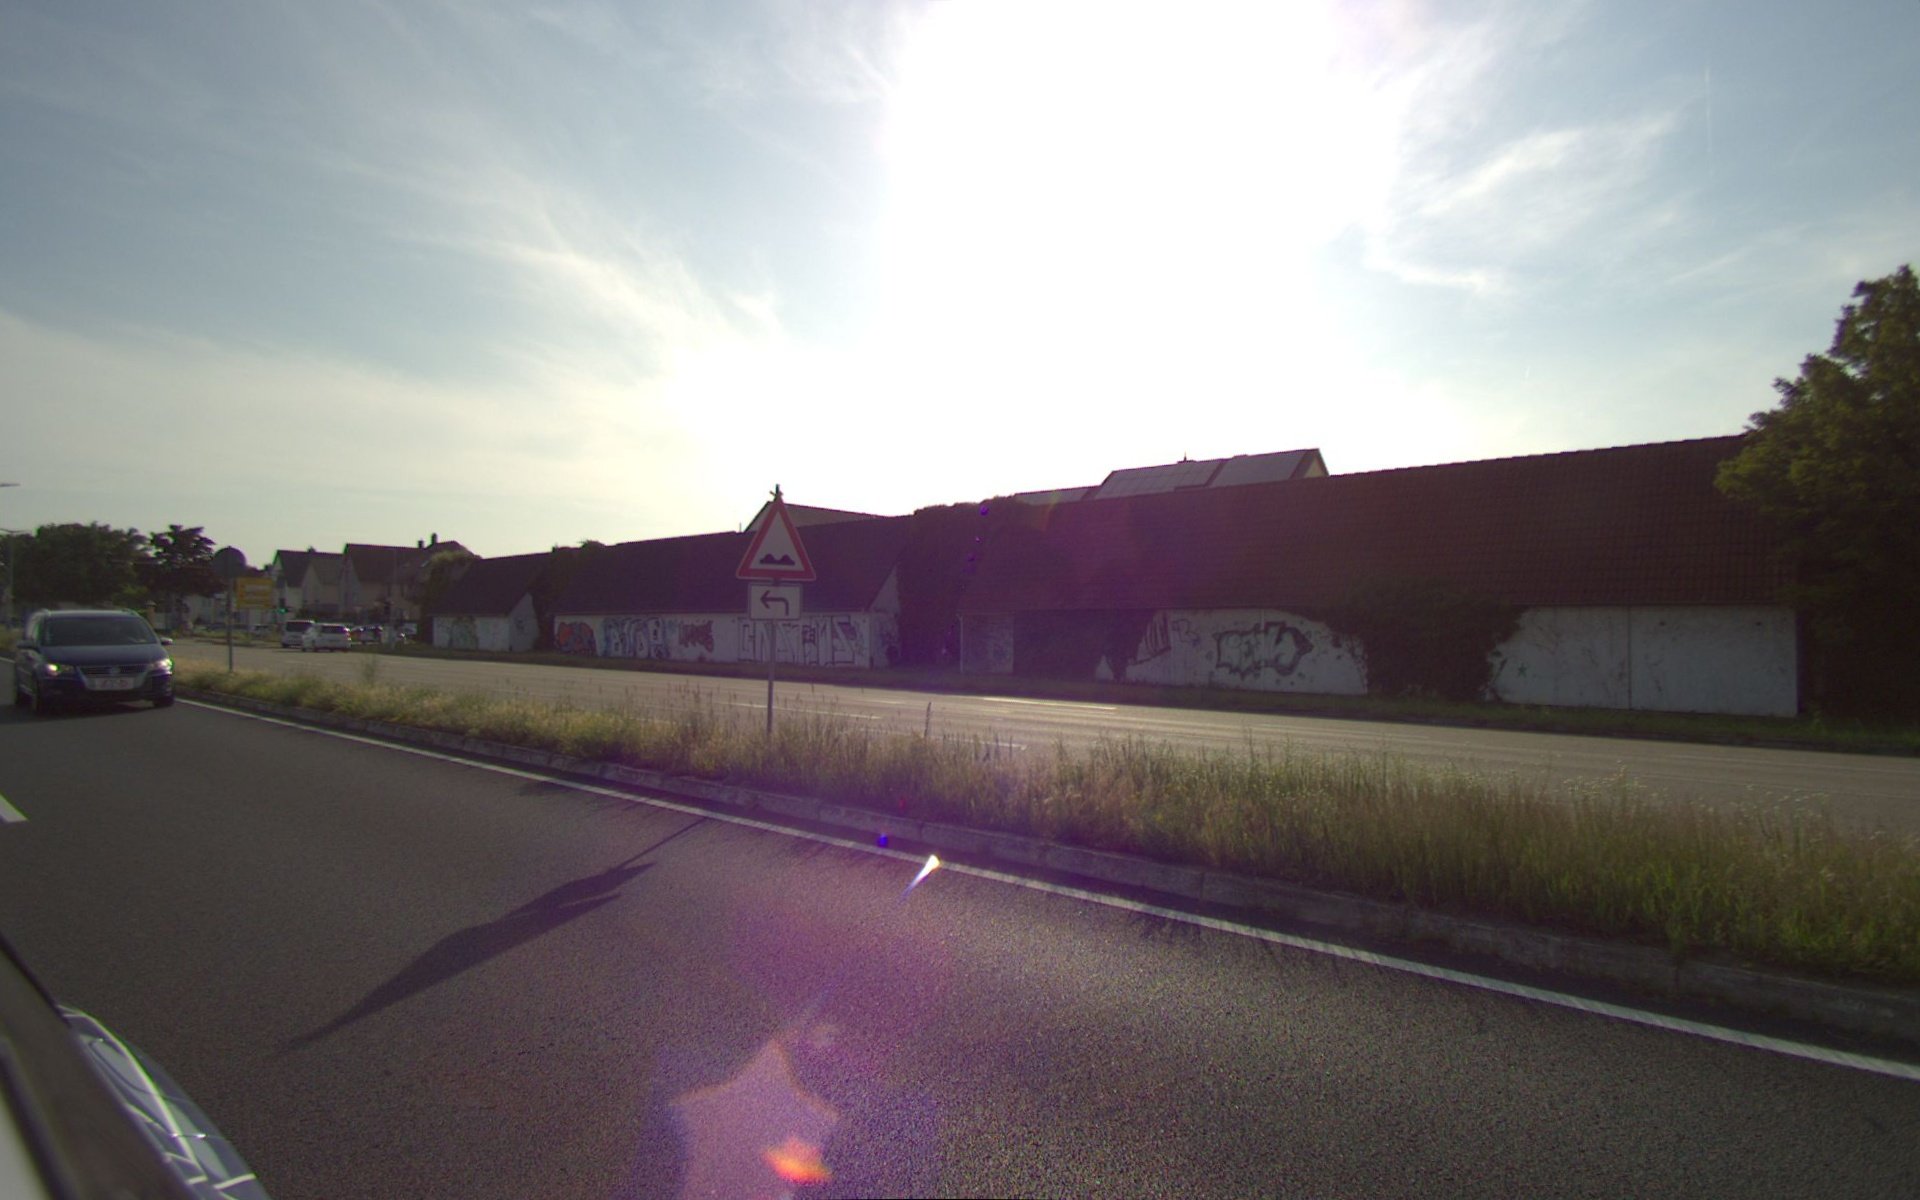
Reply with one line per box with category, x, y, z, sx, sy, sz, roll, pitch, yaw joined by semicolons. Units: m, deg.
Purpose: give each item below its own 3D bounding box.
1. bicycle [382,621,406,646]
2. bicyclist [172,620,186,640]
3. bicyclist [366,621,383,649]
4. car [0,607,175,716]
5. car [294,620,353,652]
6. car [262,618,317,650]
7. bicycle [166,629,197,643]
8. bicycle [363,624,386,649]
bicycle;-41.865;2.463;74.817;2.606;1.762;0.745;0;0;42
bicyclist;-70.418;2.723;91.242;0.844;1.800;0.848;5;-3;-40
bicyclist;-42.918;2.548;74.213;1.062;2.029;0.762;0;0;41
car;-15.066;0.937;17.369;4.681;1.633;1.753;0;-1;42
car;-37.378;2.090;59.392;4.760;1.720;1.815;-1;-4;45
car;-45.284;2.272;68.295;5.455;1.942;1.886;0;-4;44
bicycle;-70.289;3.226;91.371;2.128;1.201;0.905;3;-2;-40
bicycle;-42.996;2.660;74.316;2.606;1.762;0.745;0;0;42
